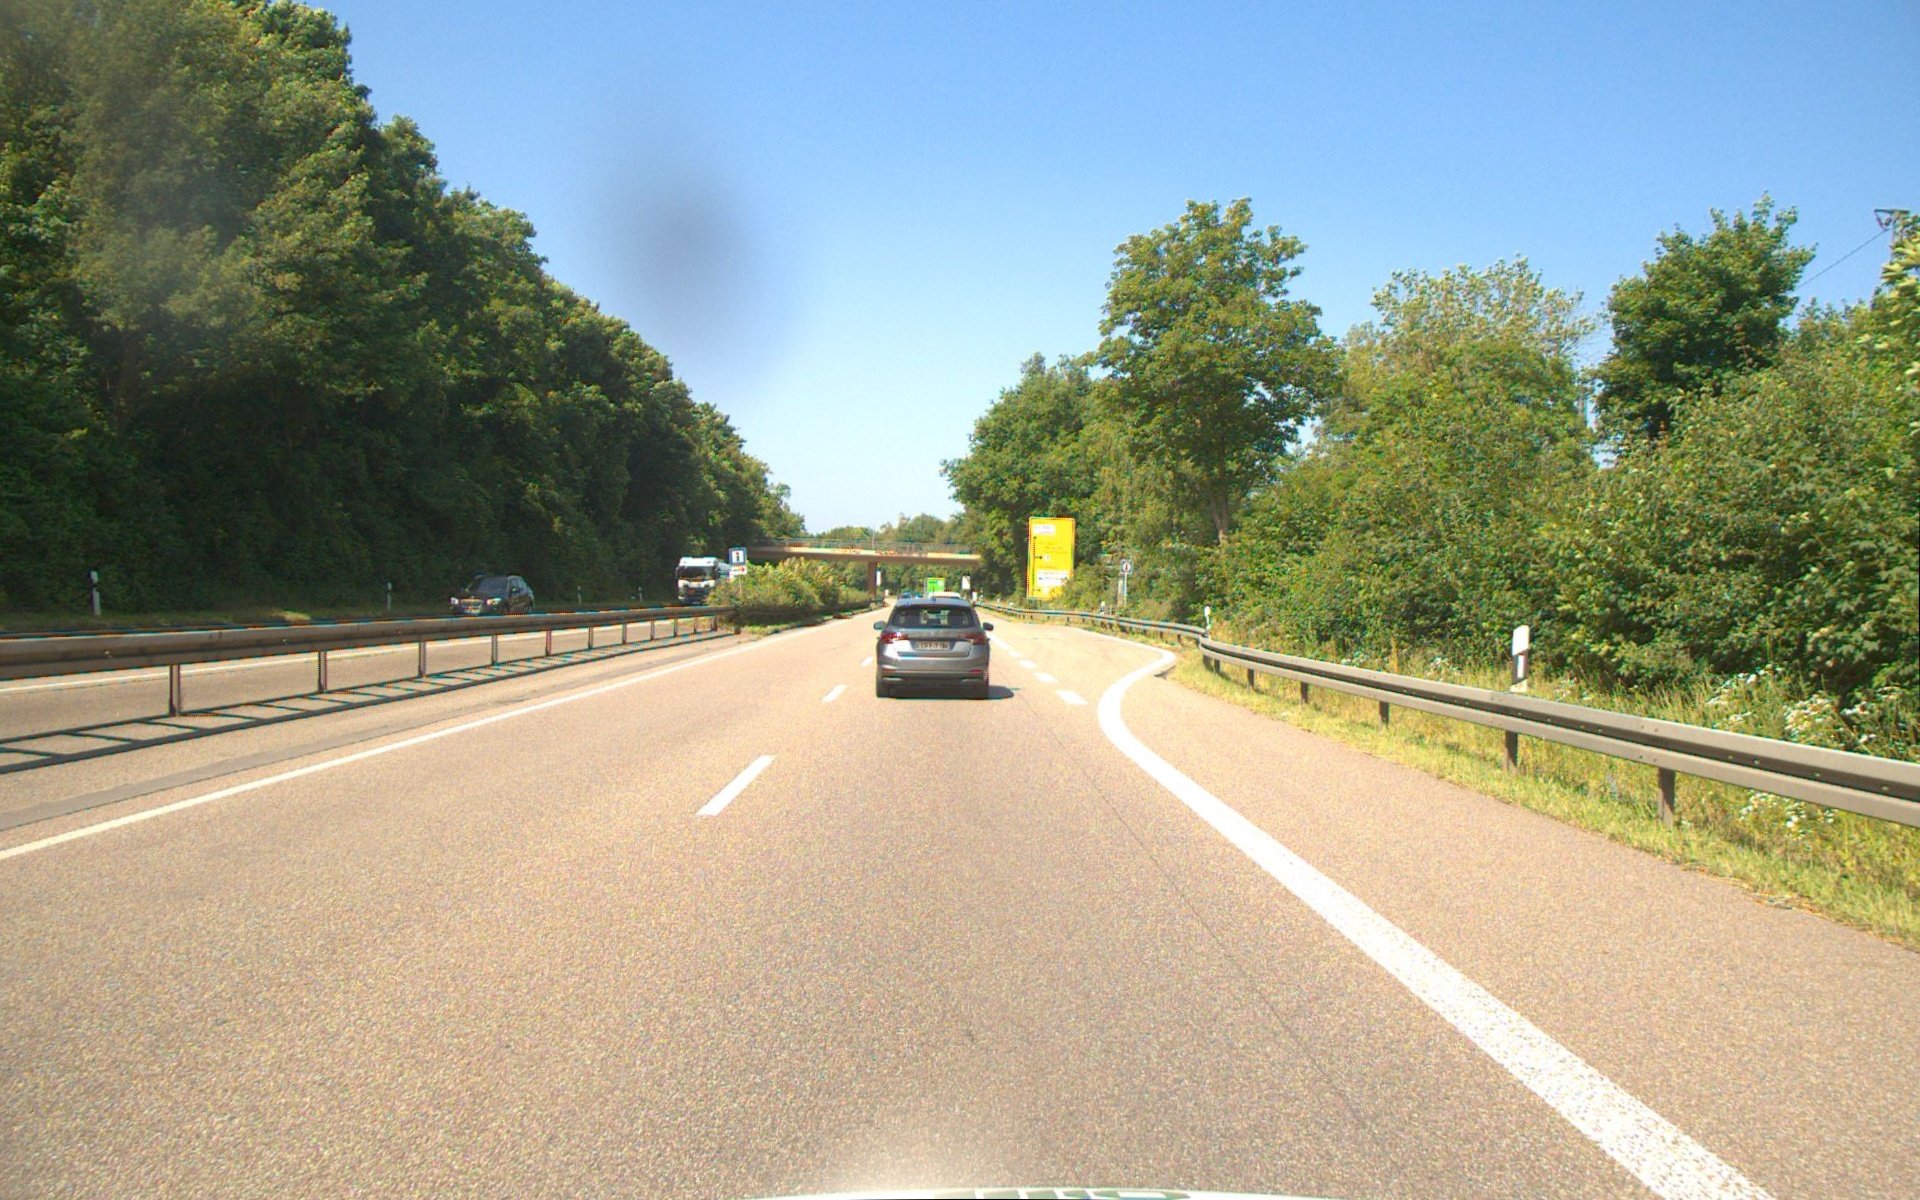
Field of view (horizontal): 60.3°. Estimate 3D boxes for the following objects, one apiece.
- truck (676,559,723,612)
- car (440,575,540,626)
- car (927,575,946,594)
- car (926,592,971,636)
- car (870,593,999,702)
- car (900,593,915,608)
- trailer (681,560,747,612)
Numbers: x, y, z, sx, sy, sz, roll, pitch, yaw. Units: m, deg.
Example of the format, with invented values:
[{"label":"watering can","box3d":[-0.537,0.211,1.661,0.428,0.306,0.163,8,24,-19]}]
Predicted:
[{"label":"truck","box3d":[-16.848,-0.932,107.151,2.375,3.315,3.999,1,0,-1]},{"label":"car","box3d":[-15.141,0.017,53.542,1.804,1.536,4.552,1,0,1]},{"label":"car","box3d":[-3.383,-2.194,241.137,2.693,2.700,3.999,1,0,-1]},{"label":"car","box3d":[-0.391,0.465,58.176,1.491,1.472,3.340,1,0,1]},{"label":"car","box3d":[-0.338,0.666,25.181,1.802,1.497,3.624,1,0,1]},{"label":"car","box3d":[-7.415,0.036,232.333,1.953,2.049,3.999,1,0,-1]},{"label":"trailer","box3d":[-16.863,-0.900,114.260,2.442,3.292,14.429,1,0,-1]}]
